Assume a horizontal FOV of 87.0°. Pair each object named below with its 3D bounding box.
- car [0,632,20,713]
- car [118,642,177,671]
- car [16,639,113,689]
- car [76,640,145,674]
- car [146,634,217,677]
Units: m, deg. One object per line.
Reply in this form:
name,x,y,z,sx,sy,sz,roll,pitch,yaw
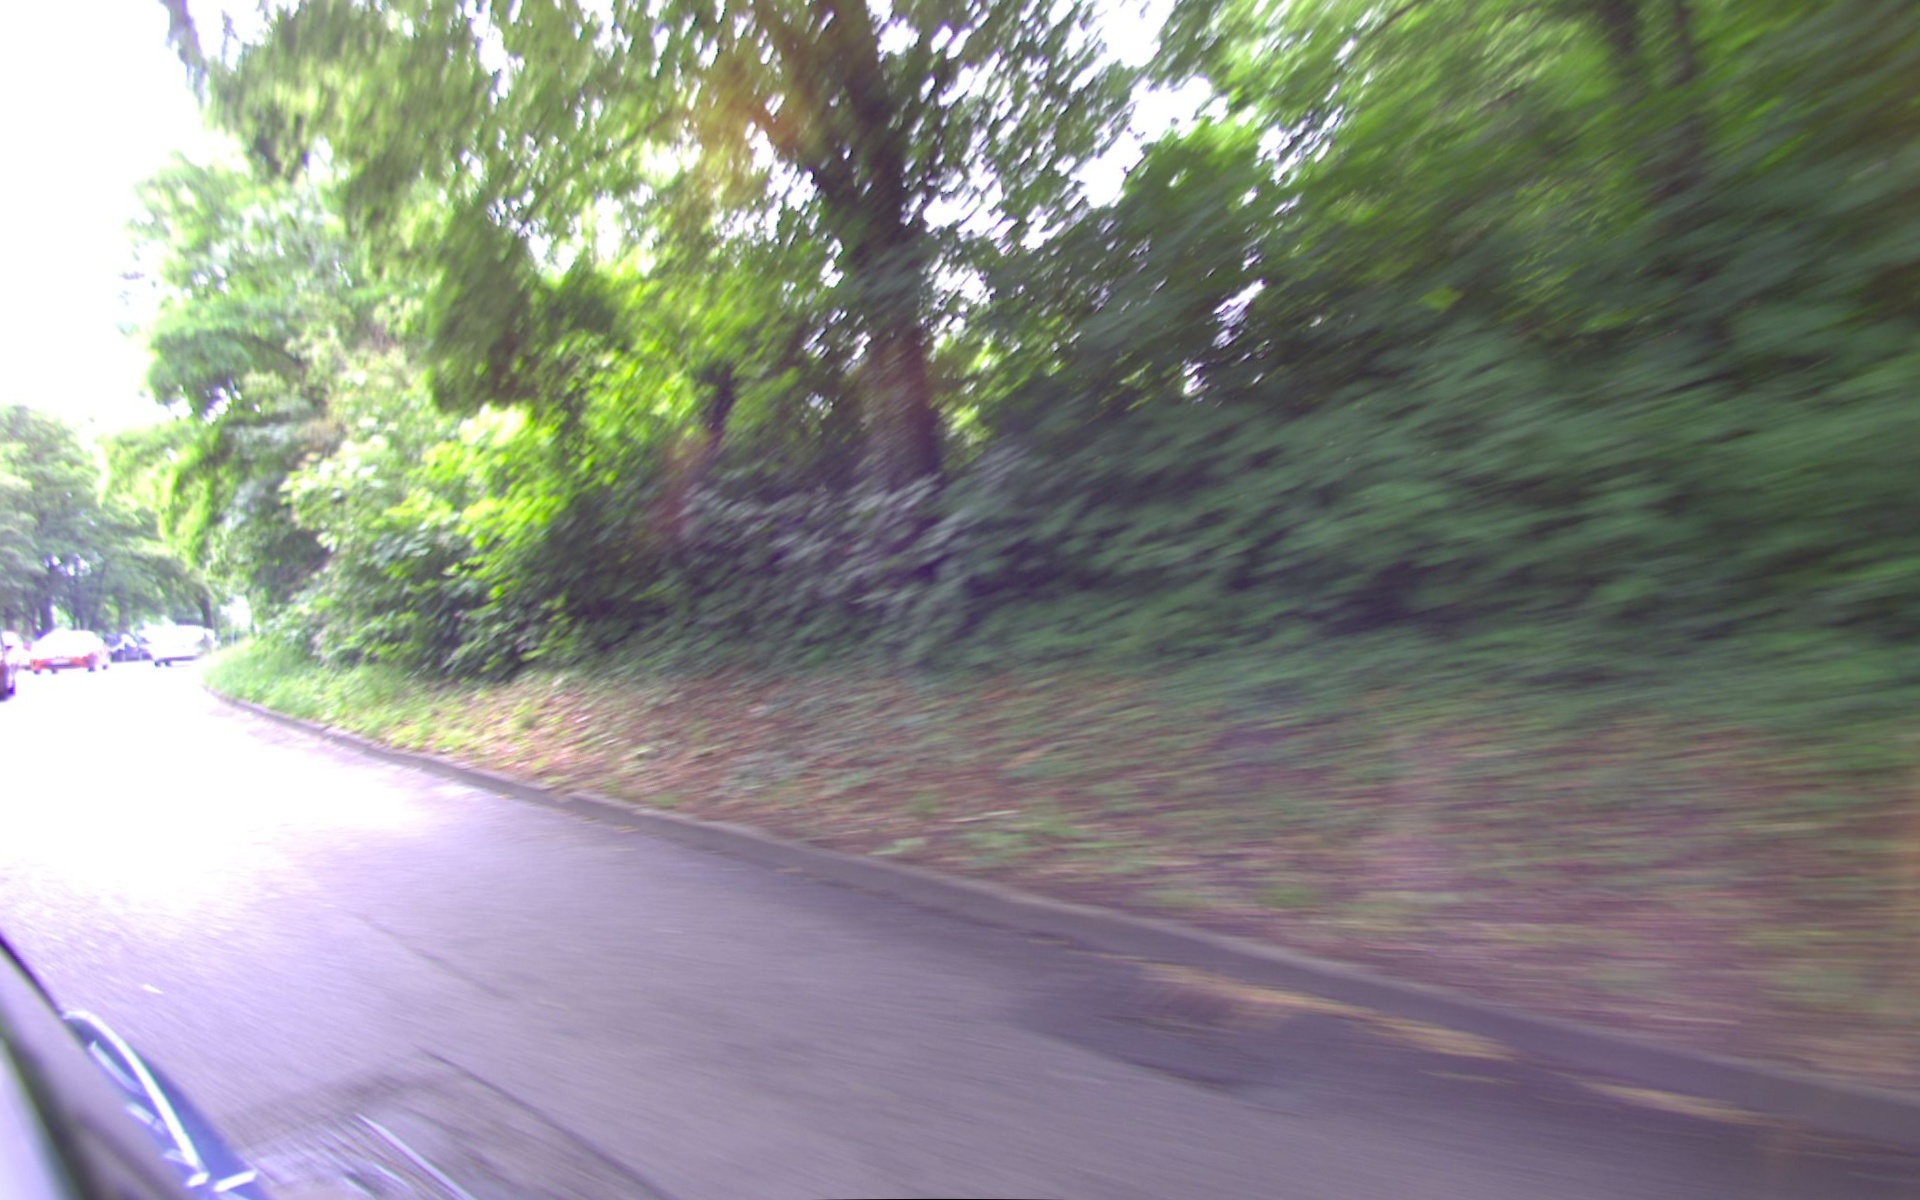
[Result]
car,-21.473,1.553,21.488,1.974,1.621,4.684,-2,0,-41
car,-47.096,3.220,58.732,1.687,1.432,4.692,-2,0,-27
car,-31.916,2.224,36.208,1.927,1.483,4.689,-2,0,-33
car,-44.586,2.972,53.214,1.687,1.522,4.692,-2,0,-27
car,-30.559,2.131,39.828,1.769,1.519,4.011,-2,-1,-32
